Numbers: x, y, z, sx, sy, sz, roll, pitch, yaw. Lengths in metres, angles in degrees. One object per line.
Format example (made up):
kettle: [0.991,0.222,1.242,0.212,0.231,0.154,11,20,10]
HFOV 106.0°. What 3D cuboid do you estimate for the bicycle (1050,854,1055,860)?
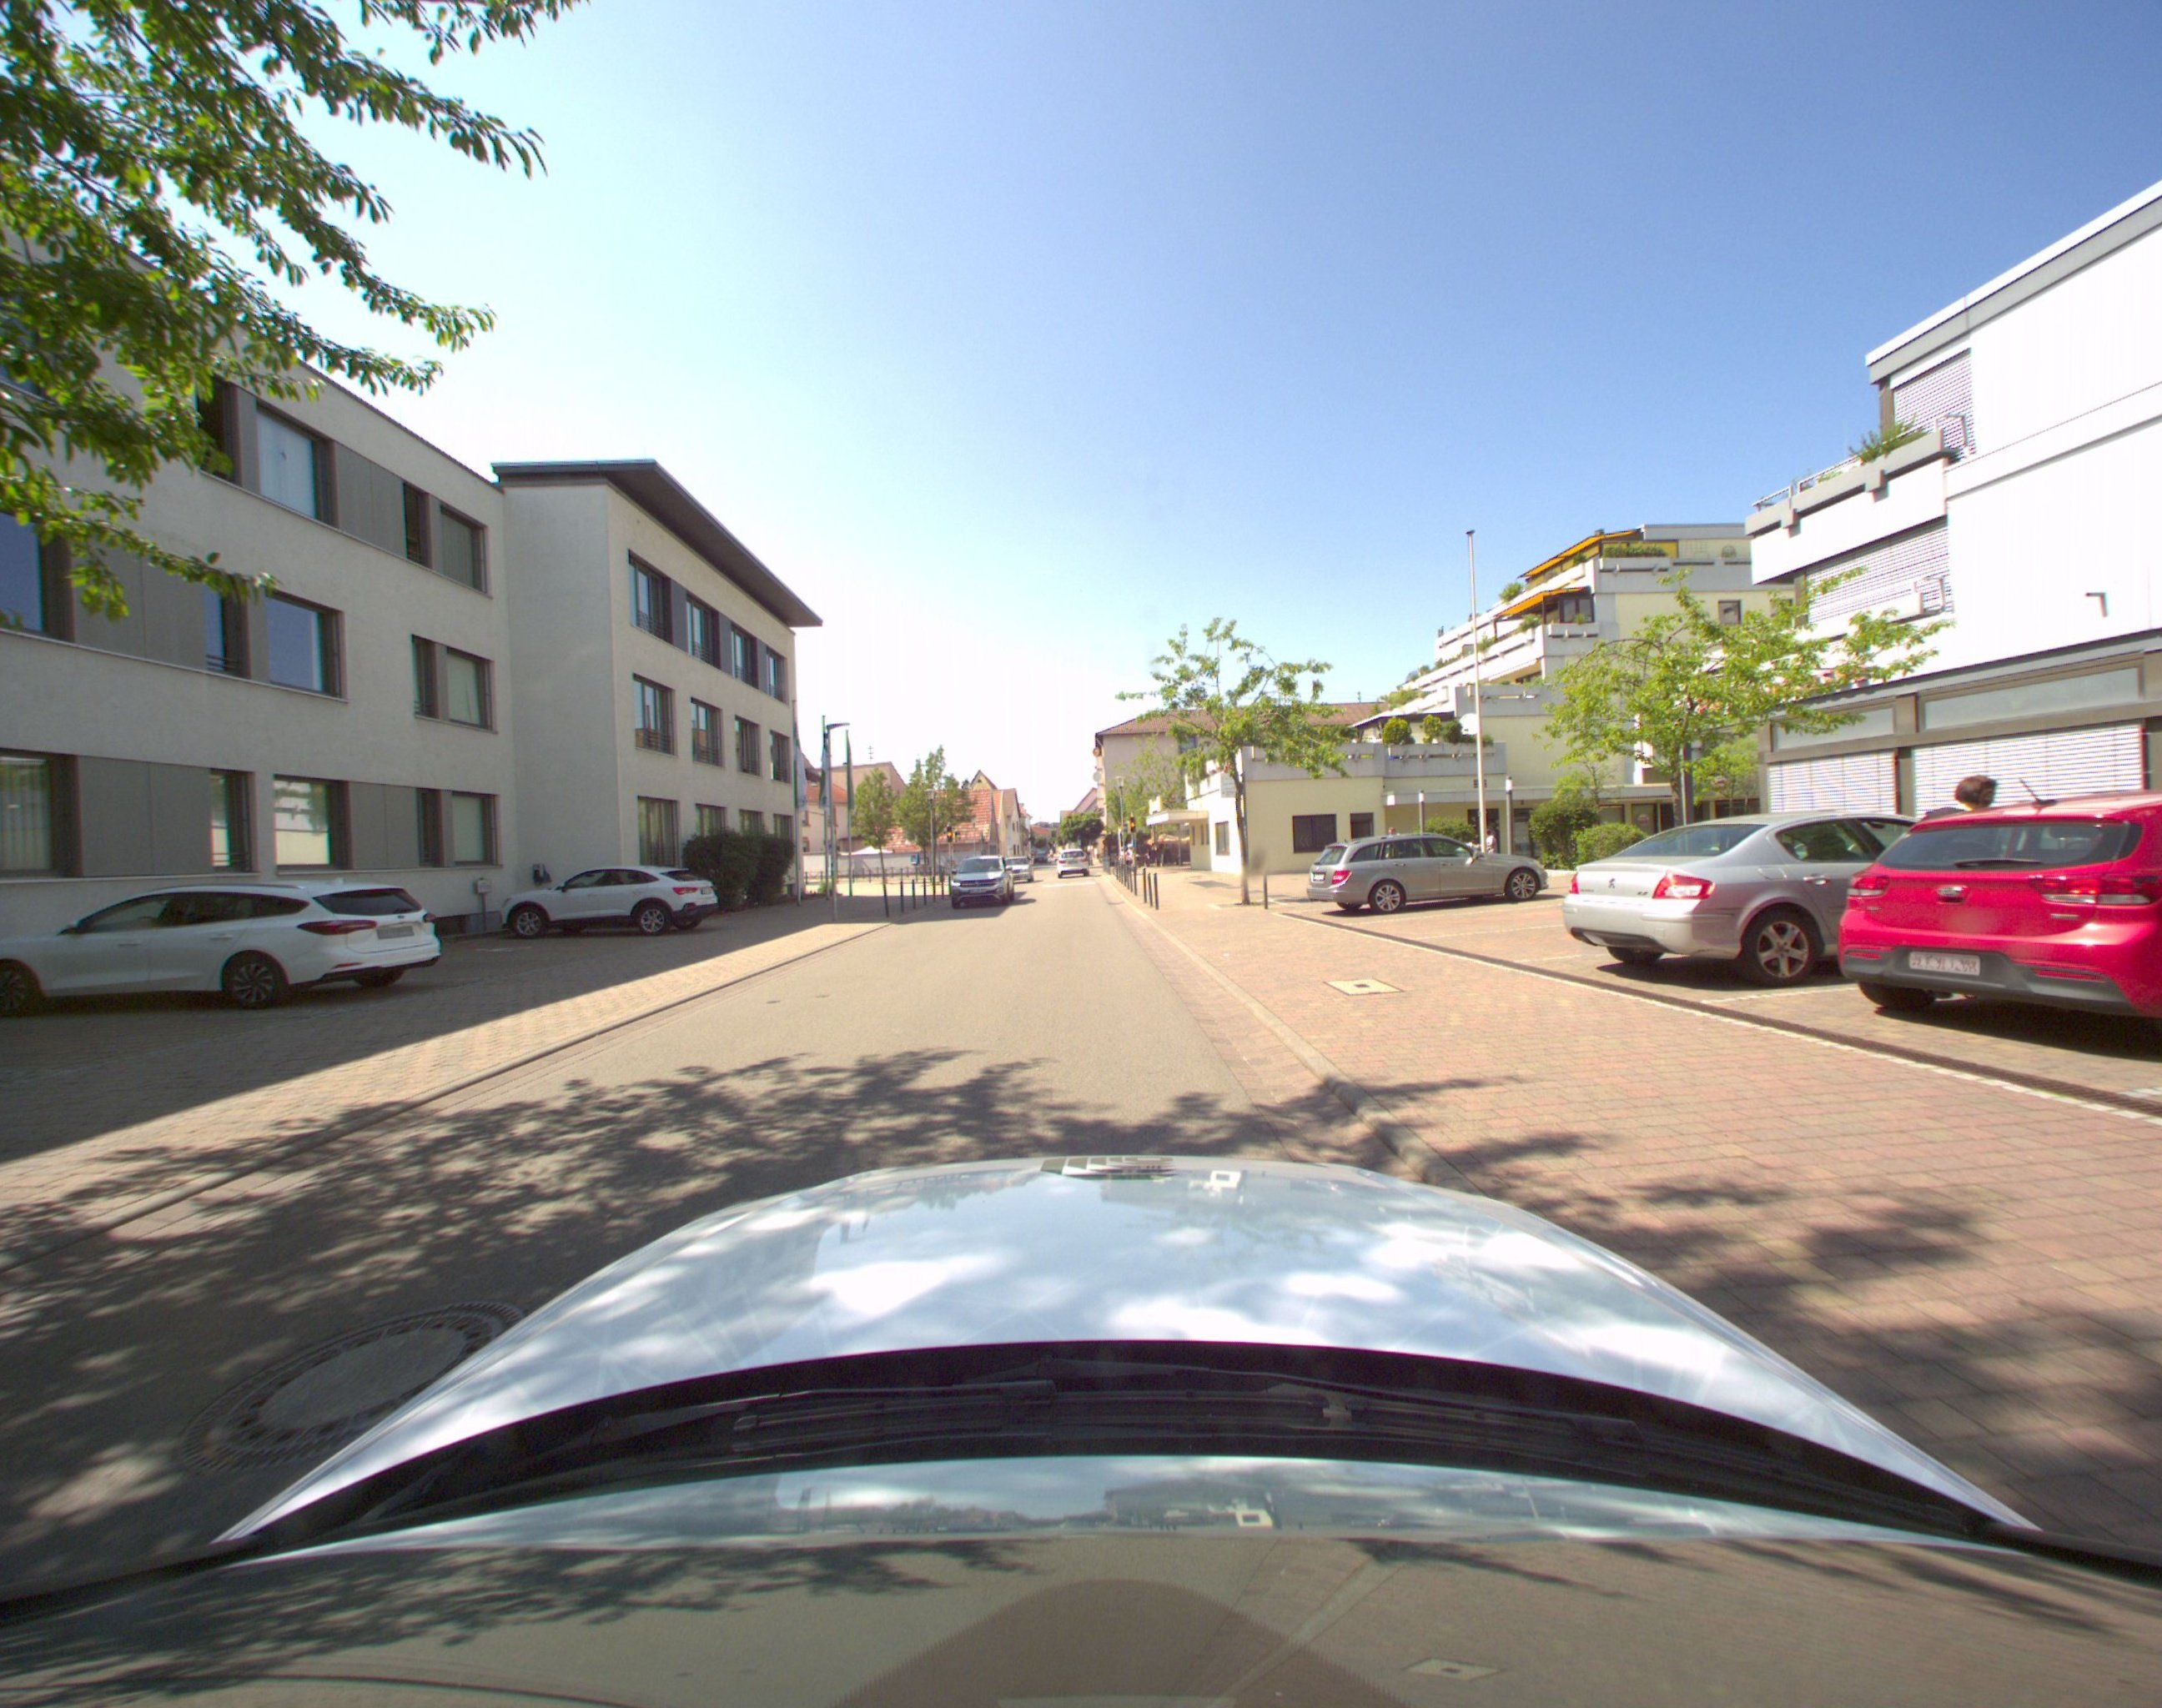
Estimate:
bicycle: [-5.184,0.520,148.457,0.662,1.006,1.897,-3,0,0]

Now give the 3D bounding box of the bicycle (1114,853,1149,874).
bicycle: [2.695,0.488,43.356,1.907,0.958,0.668,-5,1,-42]

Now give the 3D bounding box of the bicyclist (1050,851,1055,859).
bicyclist: [-5.190,0.124,148.365,0.671,1.482,0.770,-3,0,0]

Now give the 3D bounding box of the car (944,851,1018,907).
car: [-3.121,0.748,26.183,1.845,1.573,3.999,-3,0,-1]

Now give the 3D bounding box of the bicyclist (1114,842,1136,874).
bicyclist: [2.243,0.198,41.757,0.662,1.581,0.766,-4,1,40]

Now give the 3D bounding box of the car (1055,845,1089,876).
car: [-0.490,0.360,47.512,1.828,1.652,4.000,-3,0,0]

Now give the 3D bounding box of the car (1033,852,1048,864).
car: [-5.564,0.531,112.851,1.708,1.517,3.787,-3,0,1]

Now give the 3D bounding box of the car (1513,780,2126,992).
car: [6.892,0.240,7.863,4.531,1.440,1.835,-4,0,-7]

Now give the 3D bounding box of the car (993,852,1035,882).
car: [-3.561,0.669,44.139,1.875,1.464,4.434,-3,0,-1]

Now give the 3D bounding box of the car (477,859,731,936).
car: [-10.805,0.950,18.763,4.495,1.554,2.146,-1,0,-3]

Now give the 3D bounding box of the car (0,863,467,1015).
car: [-10.829,0.995,10.332,4.491,1.554,1.934,-2,1,-1]

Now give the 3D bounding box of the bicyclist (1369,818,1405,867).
bicyclist: [9.804,-0.369,26.093,0.763,1.526,0.665,-4,1,-27]

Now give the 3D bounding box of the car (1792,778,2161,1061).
car: [7.182,0.227,5.323,3.726,1.452,1.741,-4,0,-7]

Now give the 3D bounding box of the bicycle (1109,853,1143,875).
bicycle: [2.321,0.522,41.822,0.667,0.958,1.908,-4,1,40]

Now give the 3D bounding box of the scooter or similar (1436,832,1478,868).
scooter or similar: [11.892,-0.129,25.766,1.034,1.106,0.629,-3,0,9]

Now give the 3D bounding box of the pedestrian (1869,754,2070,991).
pedestrian: [6.975,0.133,6.428,0.748,1.717,0.697,-4,0,-7]

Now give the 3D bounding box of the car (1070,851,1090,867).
car: [-0.051,0.484,82.163,1.798,1.501,4.002,-3,1,2]

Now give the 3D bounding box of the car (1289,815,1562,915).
car: [6.716,0.189,16.150,4.571,1.512,1.912,-4,0,-7]

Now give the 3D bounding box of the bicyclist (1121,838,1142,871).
bicyclist: [2.697,0.037,43.394,0.766,1.664,0.663,-5,0,-42]

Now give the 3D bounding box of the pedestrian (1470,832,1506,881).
pedestrian: [12.806,0.075,25.628,0.794,1.521,0.708,-2,0,8]

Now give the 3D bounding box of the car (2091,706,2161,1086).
car: [7.348,0.038,3.067,4.621,1.771,2.145,-4,1,-4]
